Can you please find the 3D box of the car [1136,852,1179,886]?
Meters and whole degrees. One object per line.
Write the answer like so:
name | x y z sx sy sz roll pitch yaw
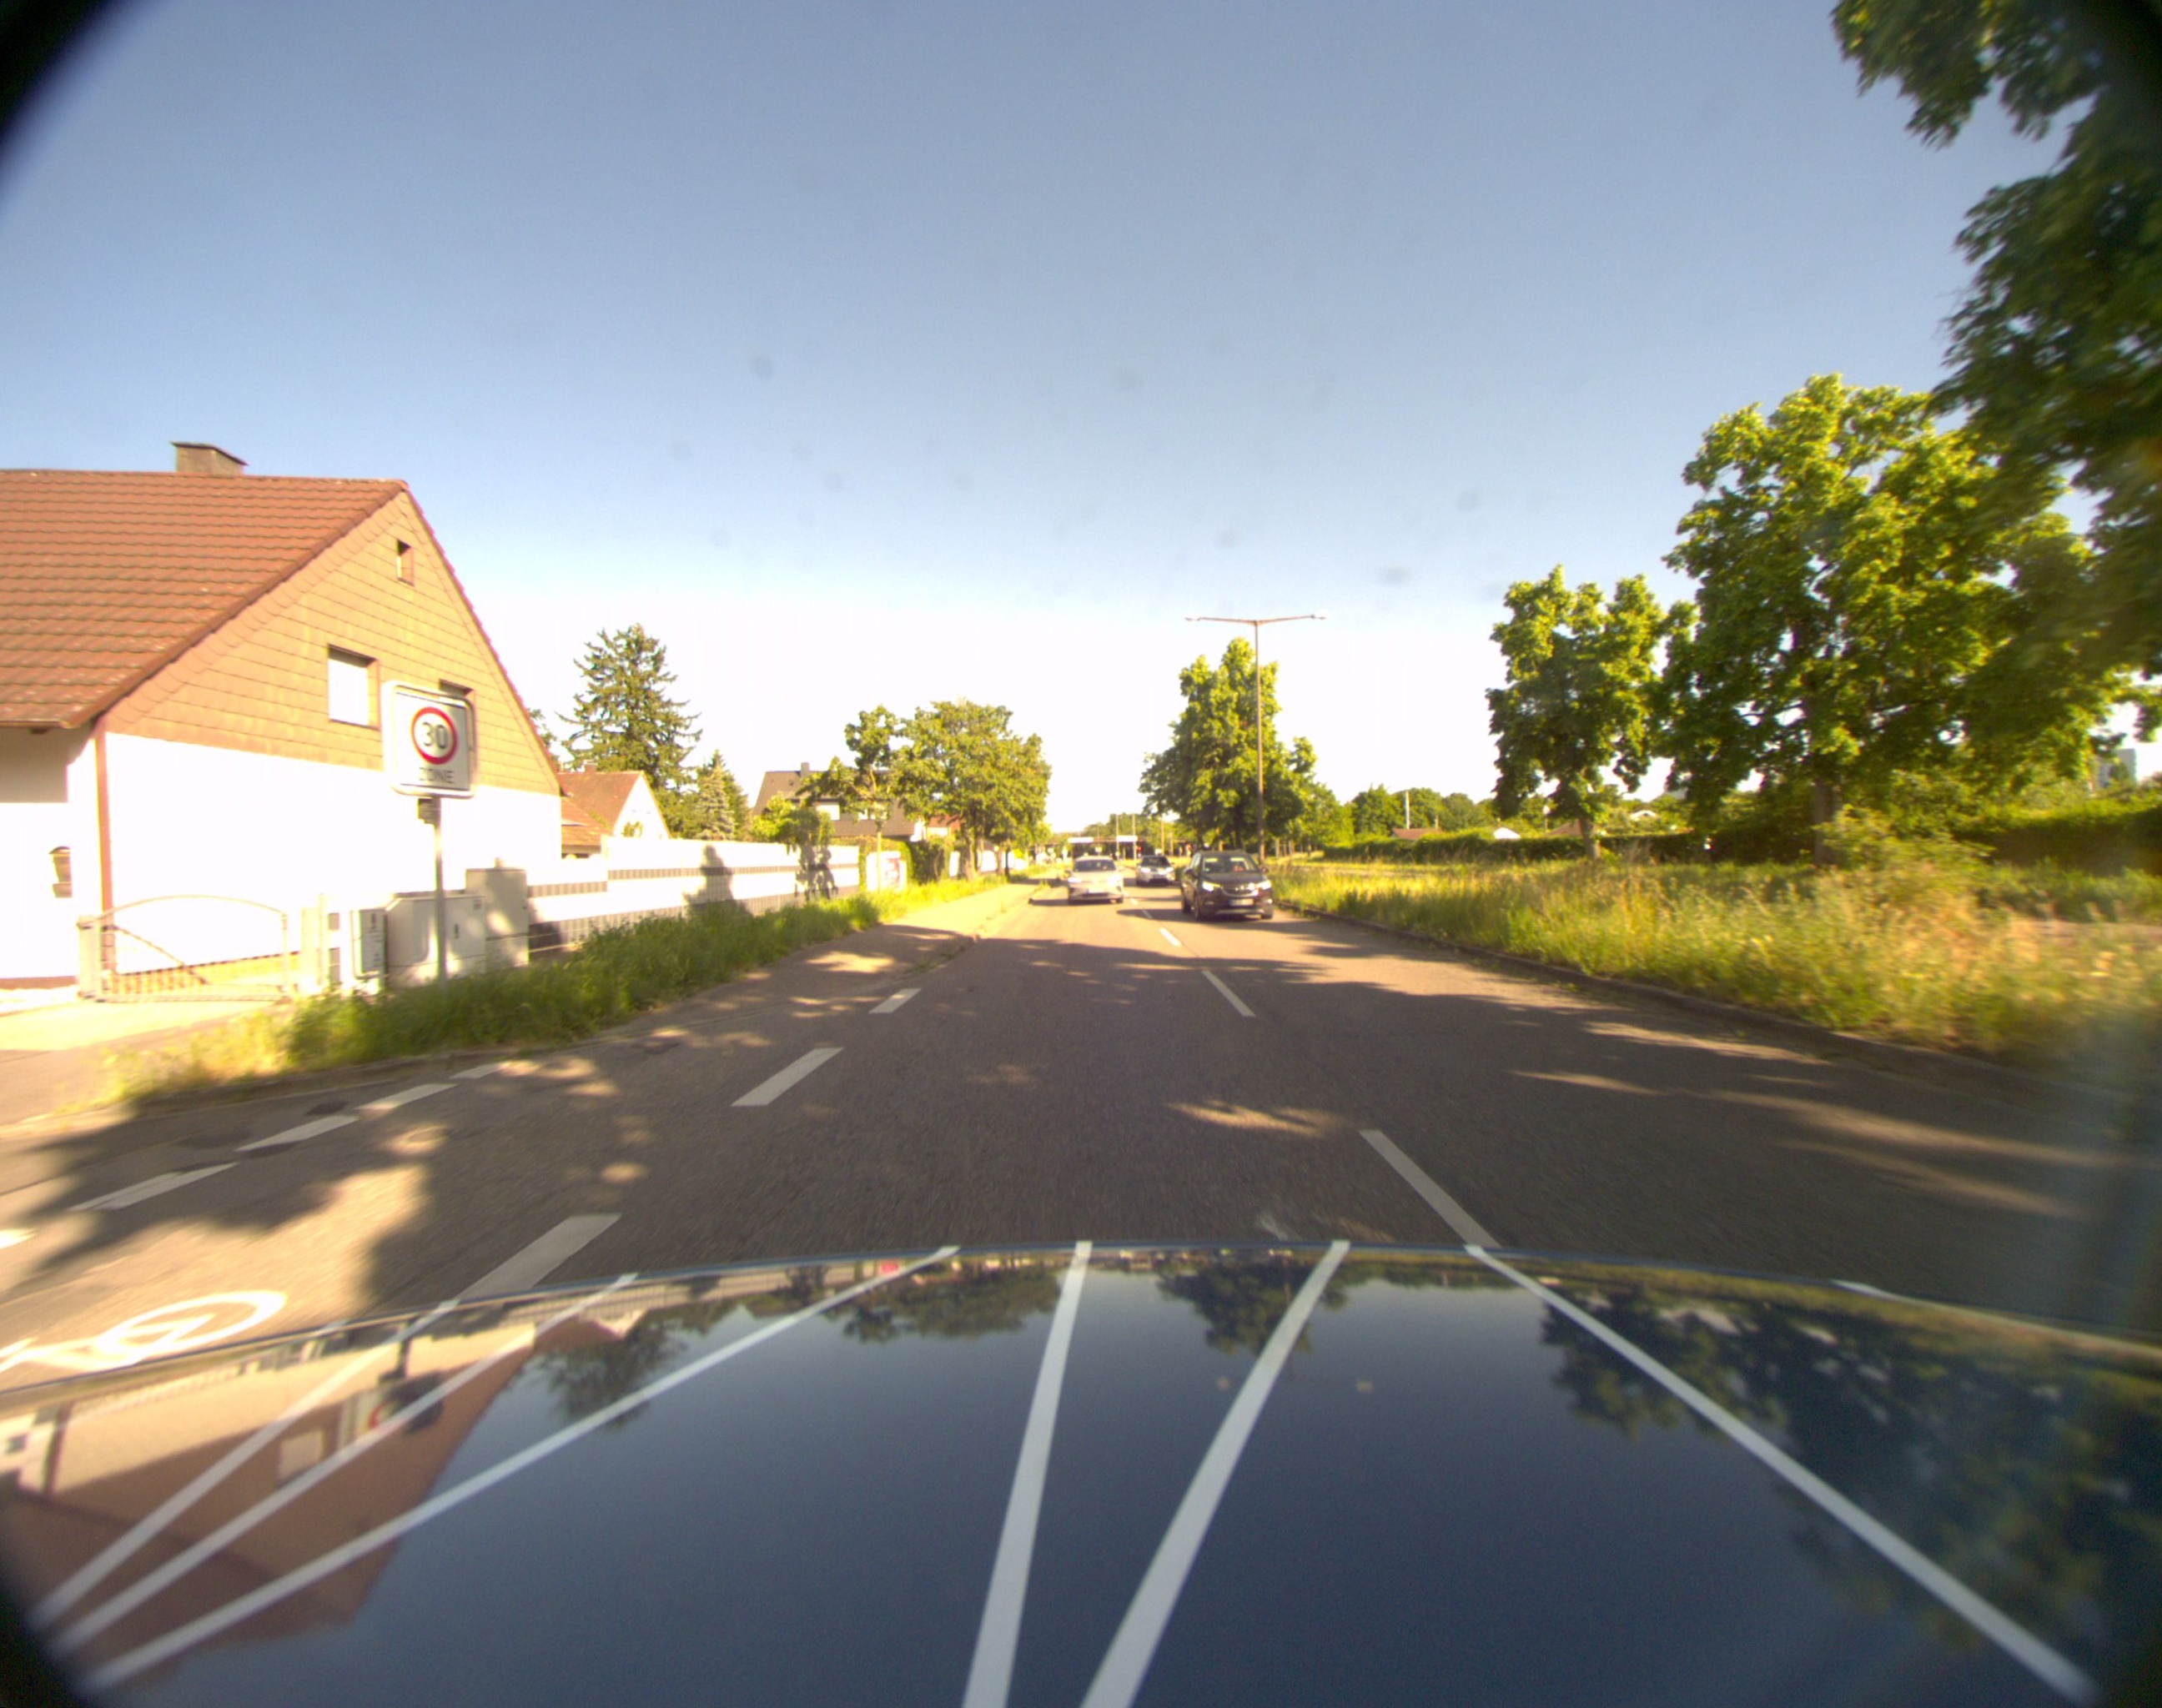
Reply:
car | 3.928 0.753 39.704 1.830 1.604 4.092 -2 0 1

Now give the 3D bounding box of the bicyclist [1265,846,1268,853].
bicyclist | 31.672 -0.794 129.761 0.584 1.249 0.576 -2 1 12

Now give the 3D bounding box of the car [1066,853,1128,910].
car | 0.542 0.845 25.367 1.801 1.664 4.240 -3 0 2

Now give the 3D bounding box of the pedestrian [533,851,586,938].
pedestrian | -10.599 0.805 15.465 0.630 1.698 0.613 -2 1 -13

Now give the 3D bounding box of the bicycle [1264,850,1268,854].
bicycle | 31.658 -0.295 129.792 0.566 0.691 1.876 -2 0 13

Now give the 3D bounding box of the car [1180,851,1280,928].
car | 3.532 0.783 18.699 1.714 1.653 3.856 -1 0 1
